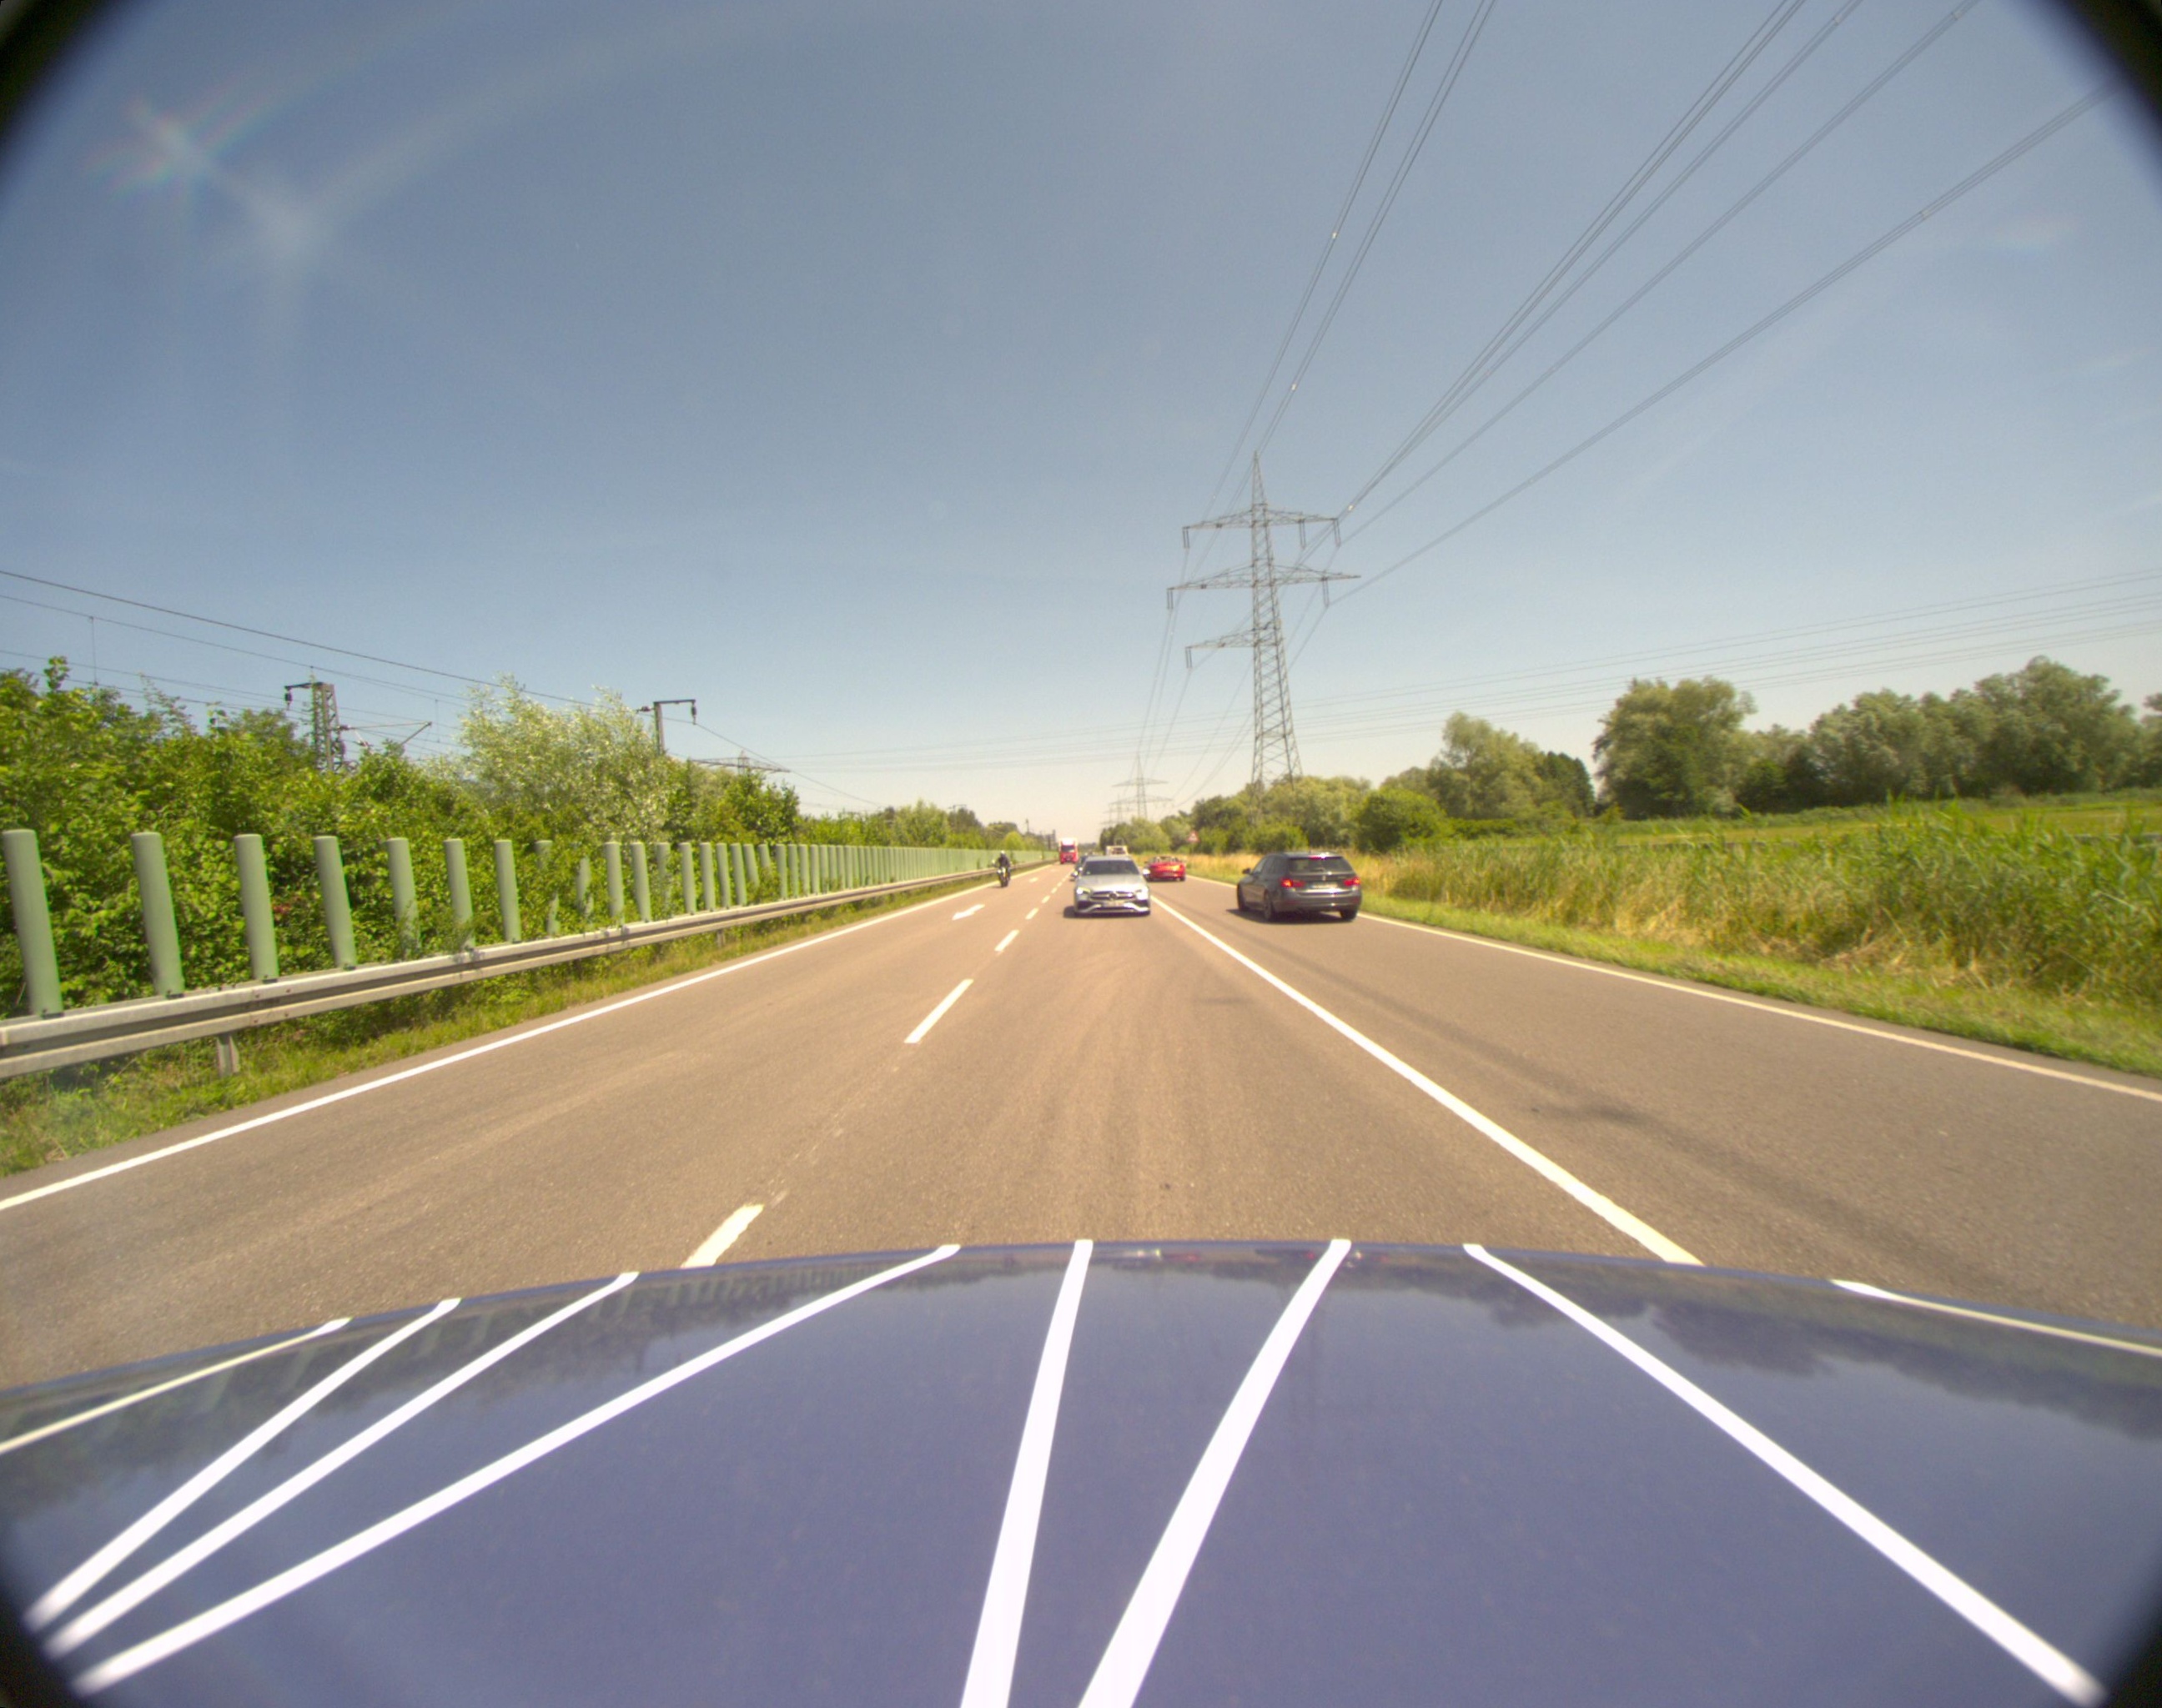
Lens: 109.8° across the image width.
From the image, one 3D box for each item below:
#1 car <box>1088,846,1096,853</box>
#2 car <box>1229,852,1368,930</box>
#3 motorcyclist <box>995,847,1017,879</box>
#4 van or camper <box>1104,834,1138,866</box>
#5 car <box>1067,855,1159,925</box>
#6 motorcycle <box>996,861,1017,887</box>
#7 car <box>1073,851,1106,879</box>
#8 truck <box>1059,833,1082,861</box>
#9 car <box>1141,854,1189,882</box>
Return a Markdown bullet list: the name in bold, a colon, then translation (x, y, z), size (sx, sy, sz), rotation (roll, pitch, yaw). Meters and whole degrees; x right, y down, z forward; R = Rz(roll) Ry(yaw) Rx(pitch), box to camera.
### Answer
- **car**: translation (3.301, -1.290, 227.993), size (2.145, 2.002, 4.568), rotation (-3, 1, -2)
- **car**: translation (4.613, 0.703, 16.796), size (1.749, 1.425, 4.322), rotation (-2, 0, -1)
- **motorcyclist**: translation (-3.612, 0.435, 36.515), size (0.892, 1.468, 1.002), rotation (-2, 1, 1)
- **van or camper**: translation (3.857, -0.440, 75.283), size (2.578, 2.865, 6.744), rotation (-2, 1, -3)
- **car**: translation (0.755, 0.808, 19.026), size (1.998, 1.437, 4.467), rotation (-2, 1, 1)
- **motorcycle**: translation (-3.553, 0.931, 36.386), size (0.792, 1.151, 1.901), rotation (-3, 1, 0)
- **car**: translation (0.511, 0.583, 42.814), size (1.697, 1.385, 4.467), rotation (-2, 1, 2)
- **truck**: translation (-1.472, -1.015, 109.639), size (2.907, 3.641, 7.155), rotation (-4, 1, 1)
- **car**: translation (4.194, 0.660, 38.442), size (1.864, 1.221, 4.322), rotation (-2, 0, -1)
